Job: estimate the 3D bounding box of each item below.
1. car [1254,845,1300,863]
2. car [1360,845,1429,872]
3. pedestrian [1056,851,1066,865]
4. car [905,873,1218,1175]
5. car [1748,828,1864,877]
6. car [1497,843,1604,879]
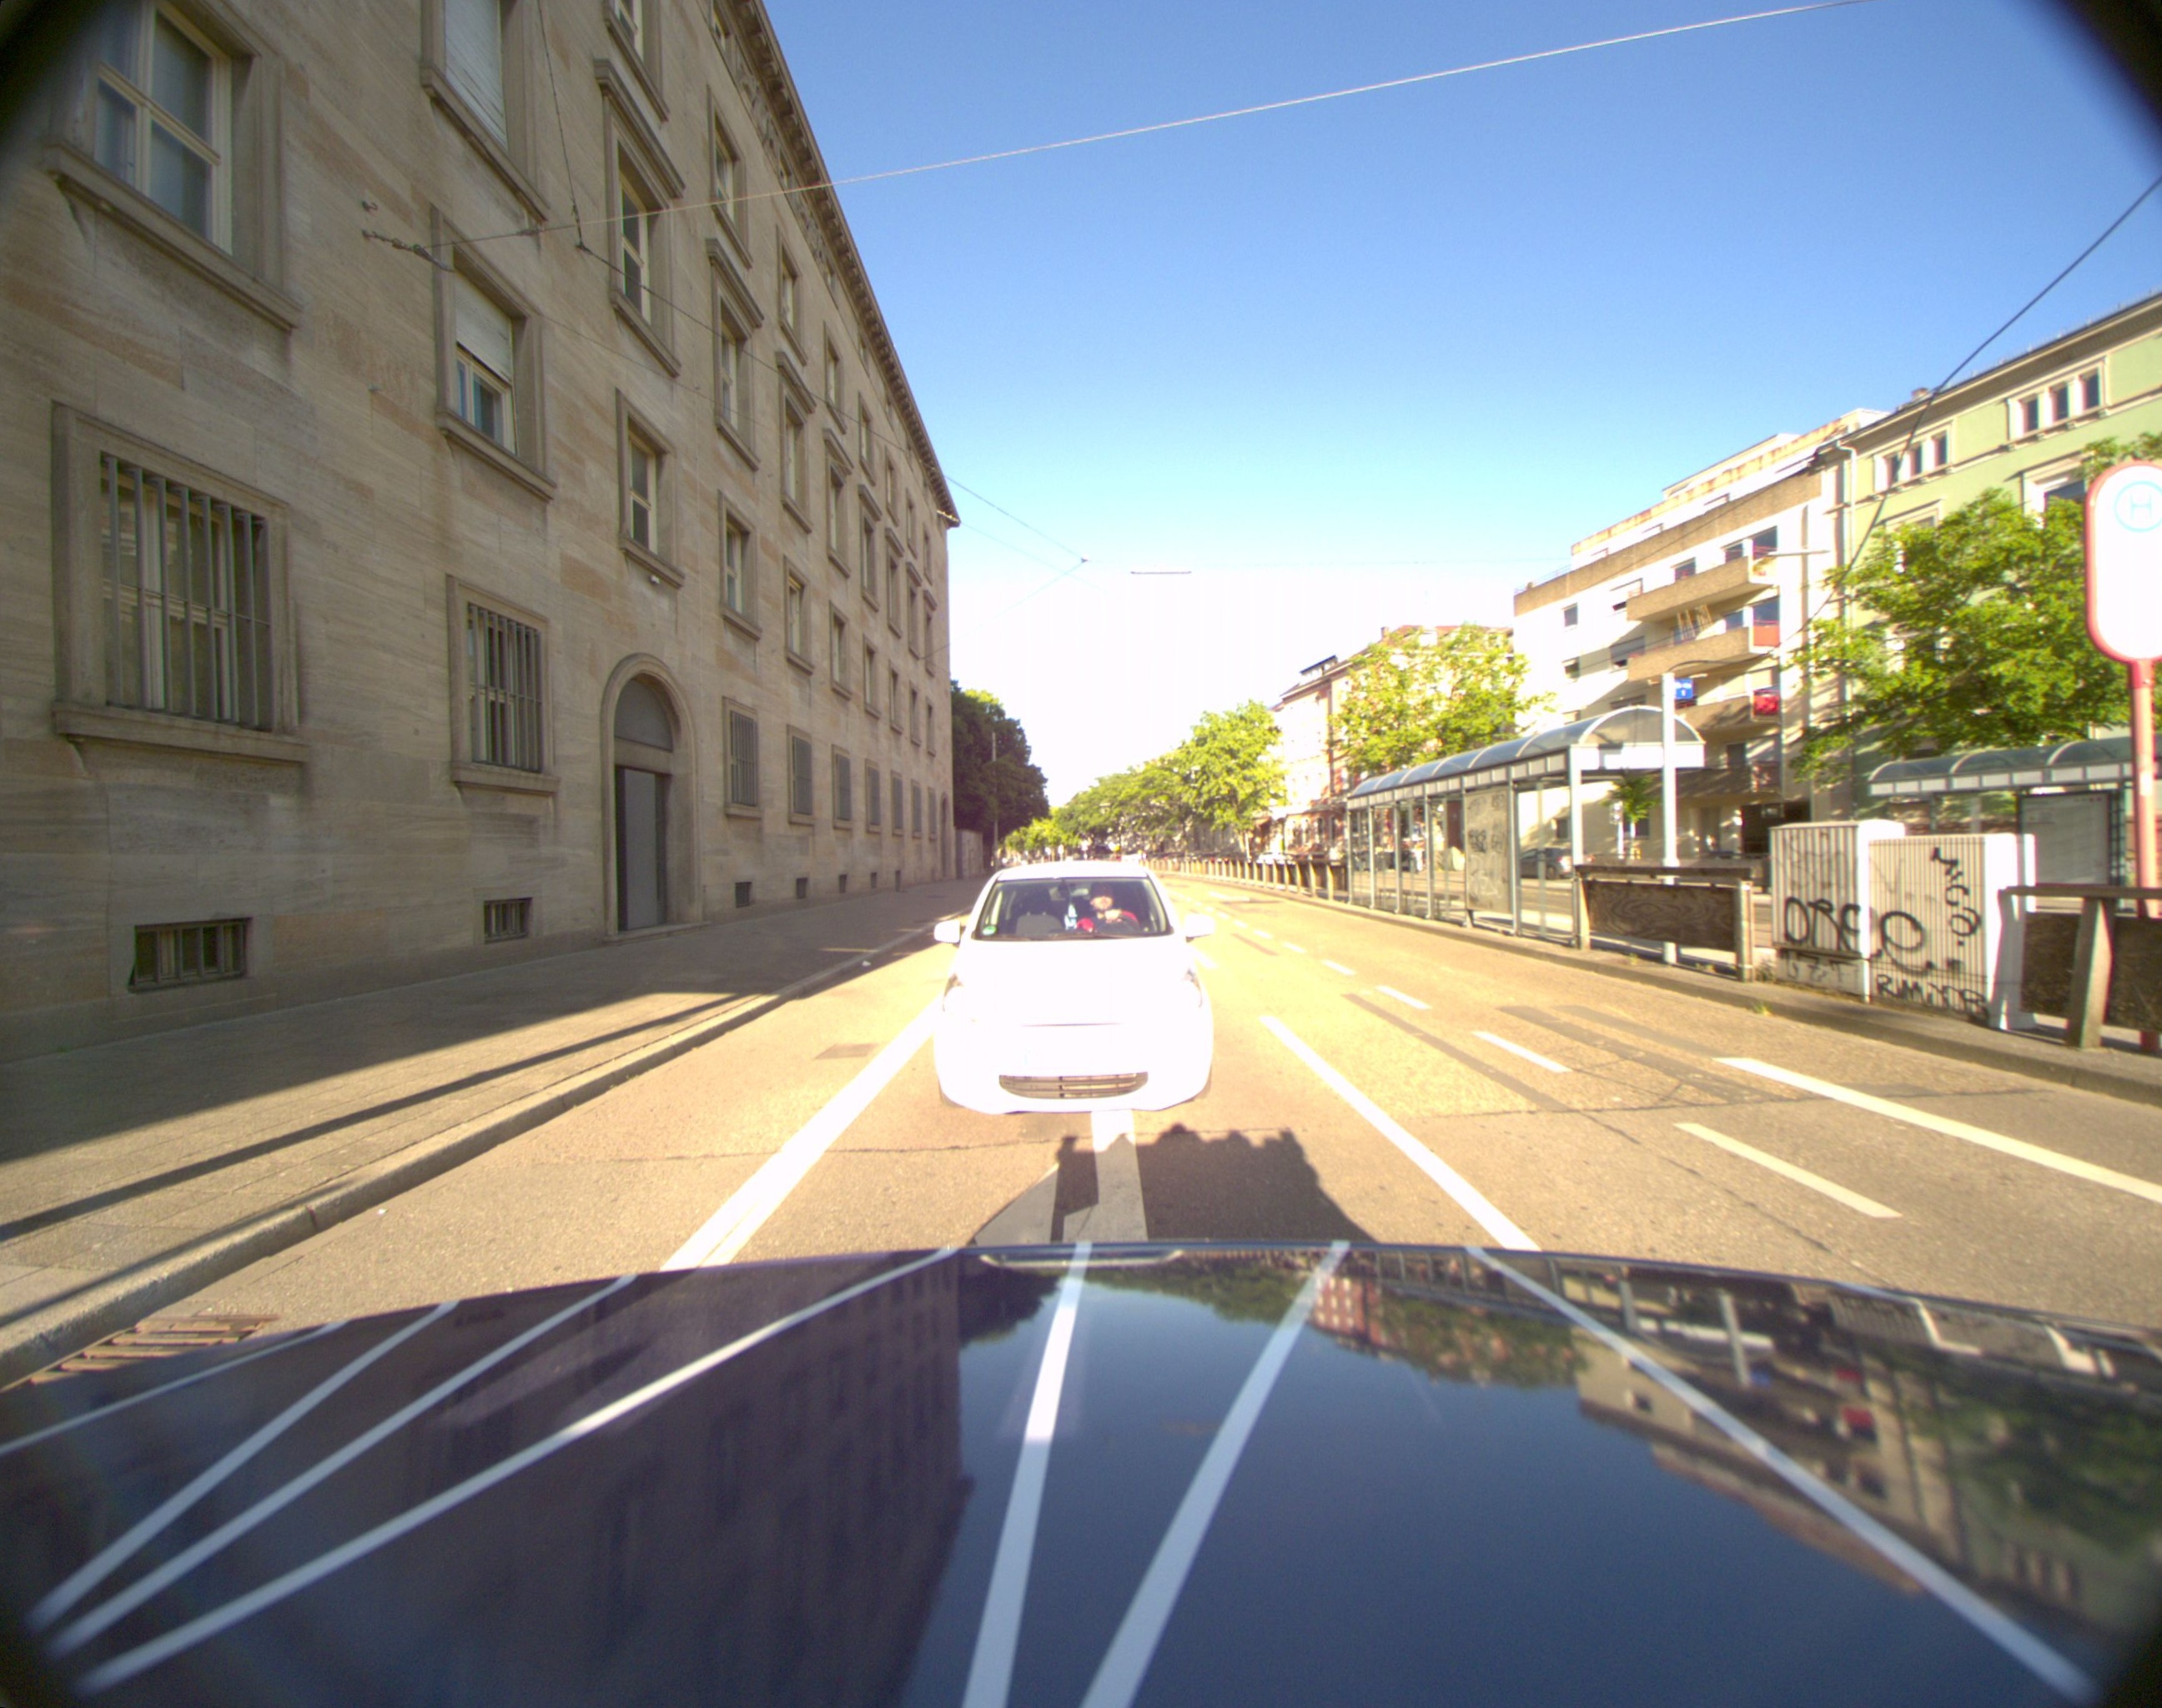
[{"bbox_3d":[16.320,0.006,63.291,3.648,1.342,1.578,-2,1,-29],"label":"car"},{"bbox_3d":[18.396,0.260,44.782,2.000,1.521,3.997,-1,0,-8],"label":"car"},{"bbox_3d":[-2.483,0.512,94.178,0.685,1.673,0.930,0,1,34],"label":"pedestrian"},{"bbox_3d":[-0.077,0.943,5.806,1.606,1.455,3.621,-1,0,1],"label":"car"},{"bbox_3d":[31.755,-0.068,33.303,4.001,2.002,1.798,-1,1,-13],"label":"car"},{"bbox_3d":[20.976,0.284,34.173,2.000,1.521,3.997,0,0,-8],"label":"car"}]
